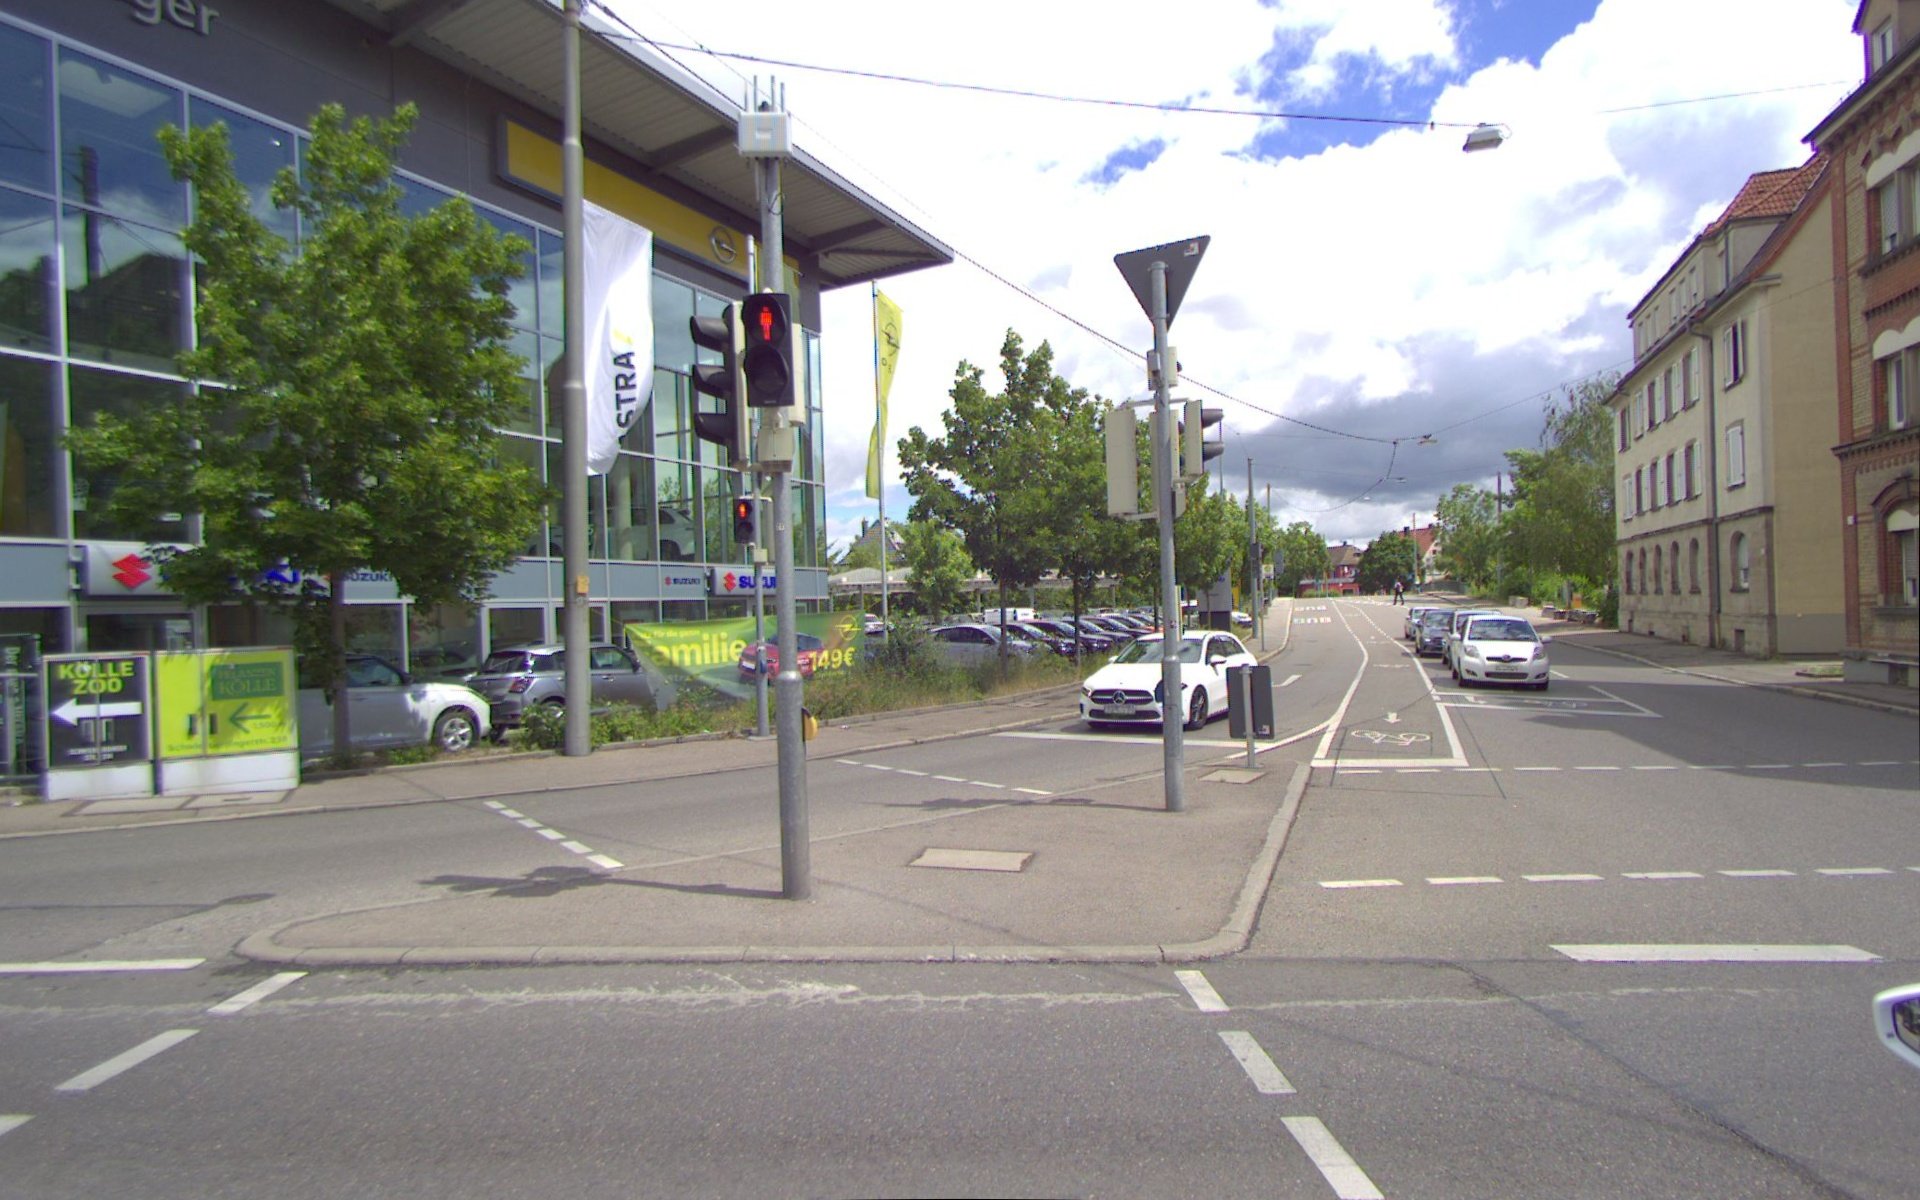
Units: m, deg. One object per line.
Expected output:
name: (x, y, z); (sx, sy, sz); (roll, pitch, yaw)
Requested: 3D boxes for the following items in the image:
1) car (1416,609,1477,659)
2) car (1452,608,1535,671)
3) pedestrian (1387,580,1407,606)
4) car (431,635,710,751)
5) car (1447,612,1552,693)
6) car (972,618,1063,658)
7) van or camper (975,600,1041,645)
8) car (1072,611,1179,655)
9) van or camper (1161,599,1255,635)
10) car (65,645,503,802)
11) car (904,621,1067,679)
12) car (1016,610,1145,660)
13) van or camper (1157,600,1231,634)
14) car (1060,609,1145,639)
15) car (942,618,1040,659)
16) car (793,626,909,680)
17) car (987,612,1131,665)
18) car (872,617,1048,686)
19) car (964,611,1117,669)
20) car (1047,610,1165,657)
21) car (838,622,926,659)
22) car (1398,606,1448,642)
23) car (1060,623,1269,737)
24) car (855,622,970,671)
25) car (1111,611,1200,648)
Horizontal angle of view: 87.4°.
car: (16.606, 1.124, 34.461); (1.691, 1.602, 4.248); (0, 0, 23)
car: (14.850, 1.043, 28.145); (1.691, 1.602, 4.316); (0, 0, 23)
pedestrian: (32.835, -0.523, 75.453); (0.989, 1.862, 1.027); (-2, 2, -35)
car: (-6.419, 1.447, 17.101); (1.912, 1.583, 4.302); (0, -1, 25)
car: (11.801, 1.079, 22.165); (1.691, 1.602, 3.998); (0, 0, 23)
car: (2.265, 1.500, 39.493); (3.261, 1.391, 1.517); (-2, 0, 20)
van or camper: (2.481, 1.087, 50.737); (1.961, 2.040, 4.685); (-2, 0, 20)
car: (6.408, 1.288, 38.885); (3.765, 1.517, 1.812); (-2, 0, 21)
van or camper: (13.495, 0.951, 54.689); (4.595, 1.773, 1.998); (-2, 0, 25)
car: (-8.411, 1.406, 12.936); (1.915, 1.494, 4.297); (0, -1, 31)
car: (0.693, 1.362, 27.400); (4.003, 1.413, 1.811); (-2, 0, 24)
car: (4.106, 1.191, 34.177); (3.989, 1.517, 1.812); (-2, 0, 21)
van or camper: (14.959, 1.033, 64.164); (4.913, 1.990, 1.969); (-2, 1, -38)
car: (7.896, 1.322, 56.019); (4.433, 1.455, 2.013); (-2, 0, 0)
car: (1.161, 1.427, 37.390); (3.261, 1.391, 1.517); (-2, 0, 20)
car: (-3.155, 1.533, 29.205); (2.962, 1.391, 1.517); (-2, 0, 22)
car: (3.171, 1.227, 32.077); (4.209, 1.517, 1.812); (-2, 0, 21)
car: (-0.003, 1.267, 24.872); (3.925, 1.517, 1.811); (-2, 0, 24)
car: (2.388, 1.190, 29.757); (4.139, 1.517, 1.812); (-2, 0, 21)
car: (5.318, 1.226, 36.515); (3.917, 1.517, 1.812); (-2, 0, 21)
car: (-3.244, 1.688, 41.814); (3.261, 1.391, 1.517); (-2, 0, 20)
car: (21.480, 1.086, 46.695); (1.690, 1.602, 4.000); (0, 0, 19)
car: (3.391, 1.169, 15.972); (1.696, 1.516, 4.451); (-4, -3, 33)
car: (-1.500, 1.457, 31.727); (3.261, 1.391, 1.517); (-2, 0, 20)
car: (9.025, 1.359, 46.311); (3.770, 1.480, 1.773); (-2, 0, 18)
